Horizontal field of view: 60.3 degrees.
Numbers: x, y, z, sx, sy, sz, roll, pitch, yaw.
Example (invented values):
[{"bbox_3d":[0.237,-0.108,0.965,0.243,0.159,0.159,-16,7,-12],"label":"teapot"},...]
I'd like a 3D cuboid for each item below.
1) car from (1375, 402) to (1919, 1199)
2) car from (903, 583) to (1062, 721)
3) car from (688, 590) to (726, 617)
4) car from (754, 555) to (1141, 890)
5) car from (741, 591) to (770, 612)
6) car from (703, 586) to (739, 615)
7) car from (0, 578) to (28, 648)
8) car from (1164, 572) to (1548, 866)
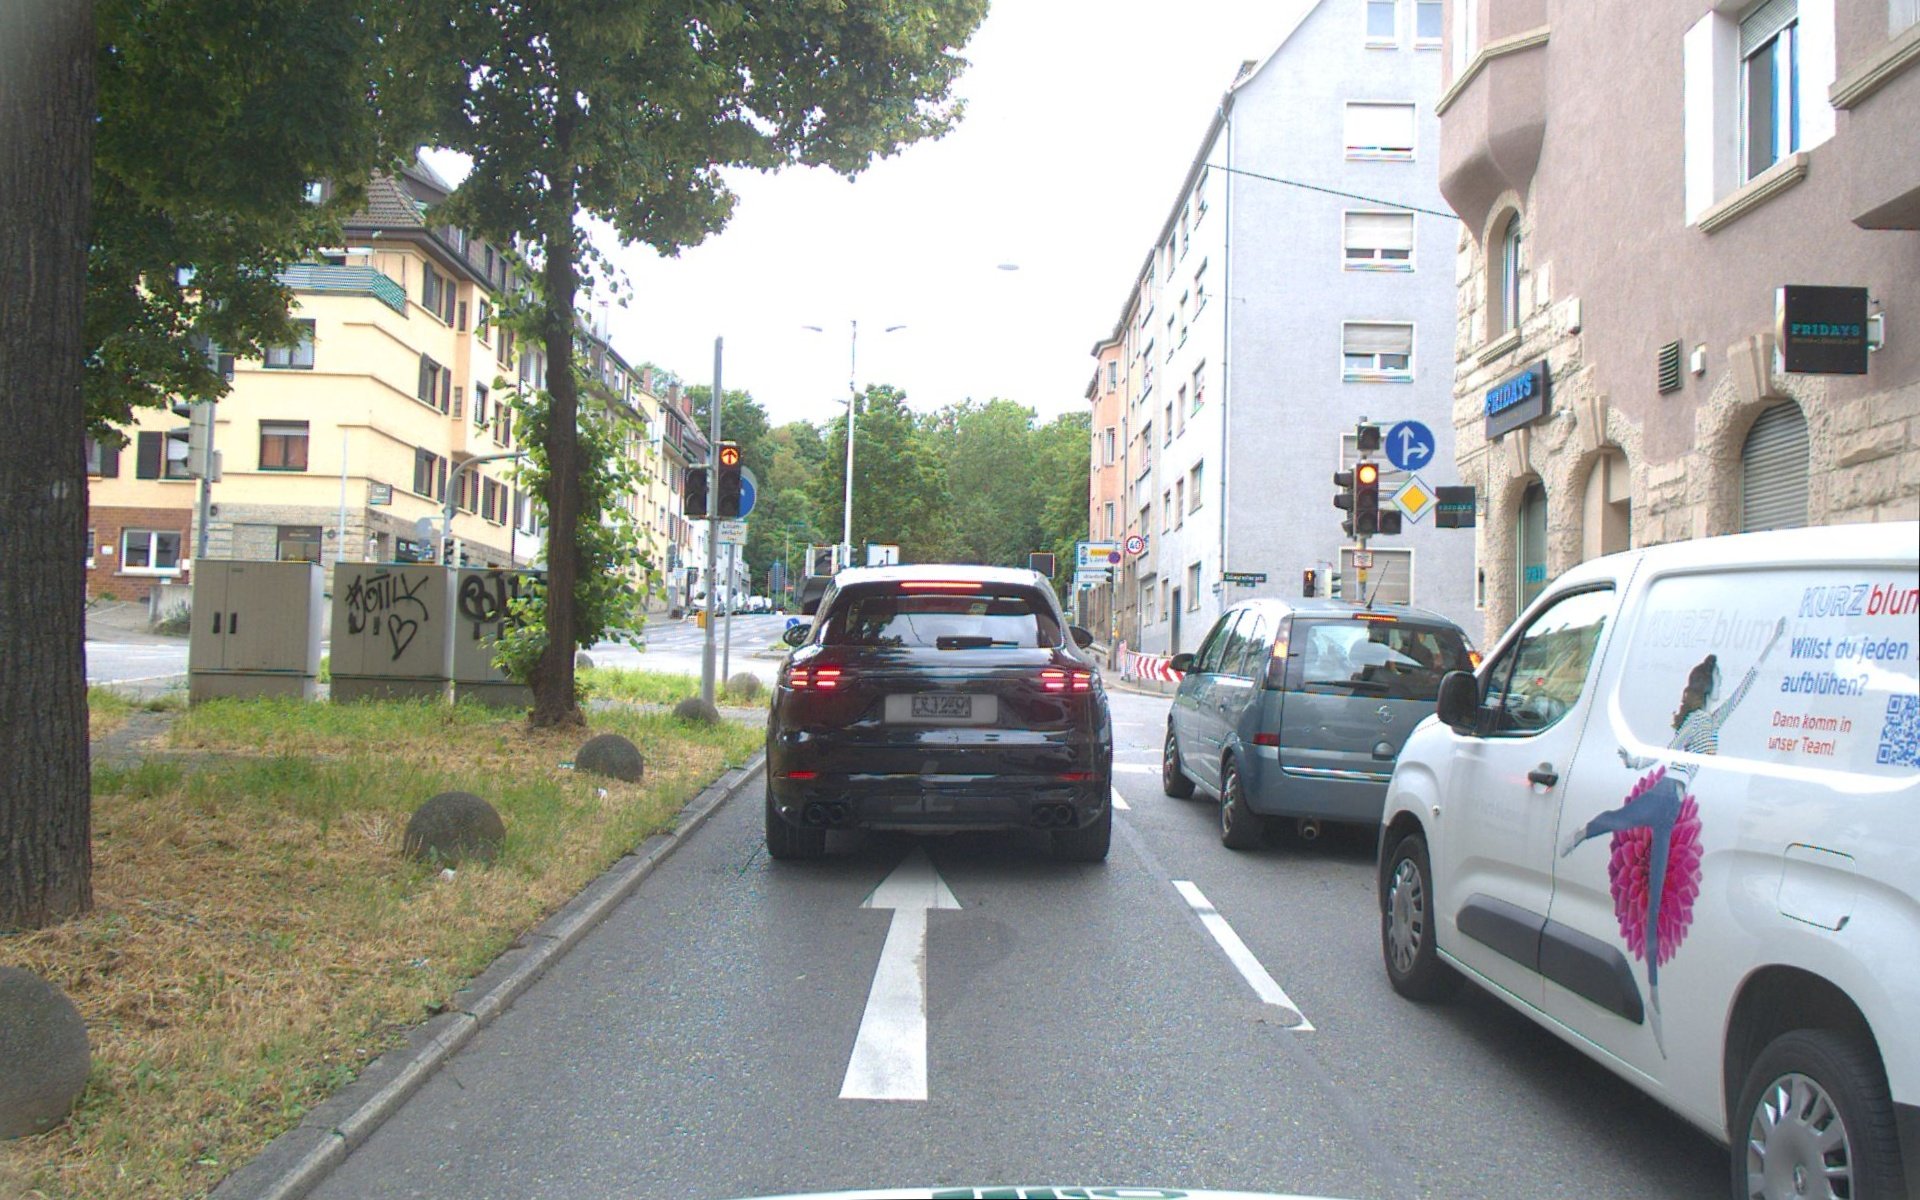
[{"bbox_3d":[2.725,0.679,5.225,1.811,1.857,5.022,2,-1,4],"label":"car"},{"bbox_3d":[0.303,0.663,22.480,1.953,1.682,4.000,1,-1,1],"label":"car"},{"bbox_3d":[-15.576,0.208,101.939,1.758,1.536,3.999,2,0,-2],"label":"car"},{"bbox_3d":[-0.043,0.606,10.430,1.953,1.681,4.000,1,1,1],"label":"car"},{"bbox_3d":[-15.866,0.084,128.343,1.758,1.536,3.999,2,0,-2],"label":"car"},{"bbox_3d":[-15.423,0.022,106.967,1.758,1.841,3.999,2,0,-2],"label":"car"},{"bbox_3d":[-25.286,0.296,41.332,3.916,1.694,1.877,0,-2,33],"label":"car"},{"bbox_3d":[2.577,0.715,11.633,1.717,1.621,3.630,4,0,0],"label":"car"}]
